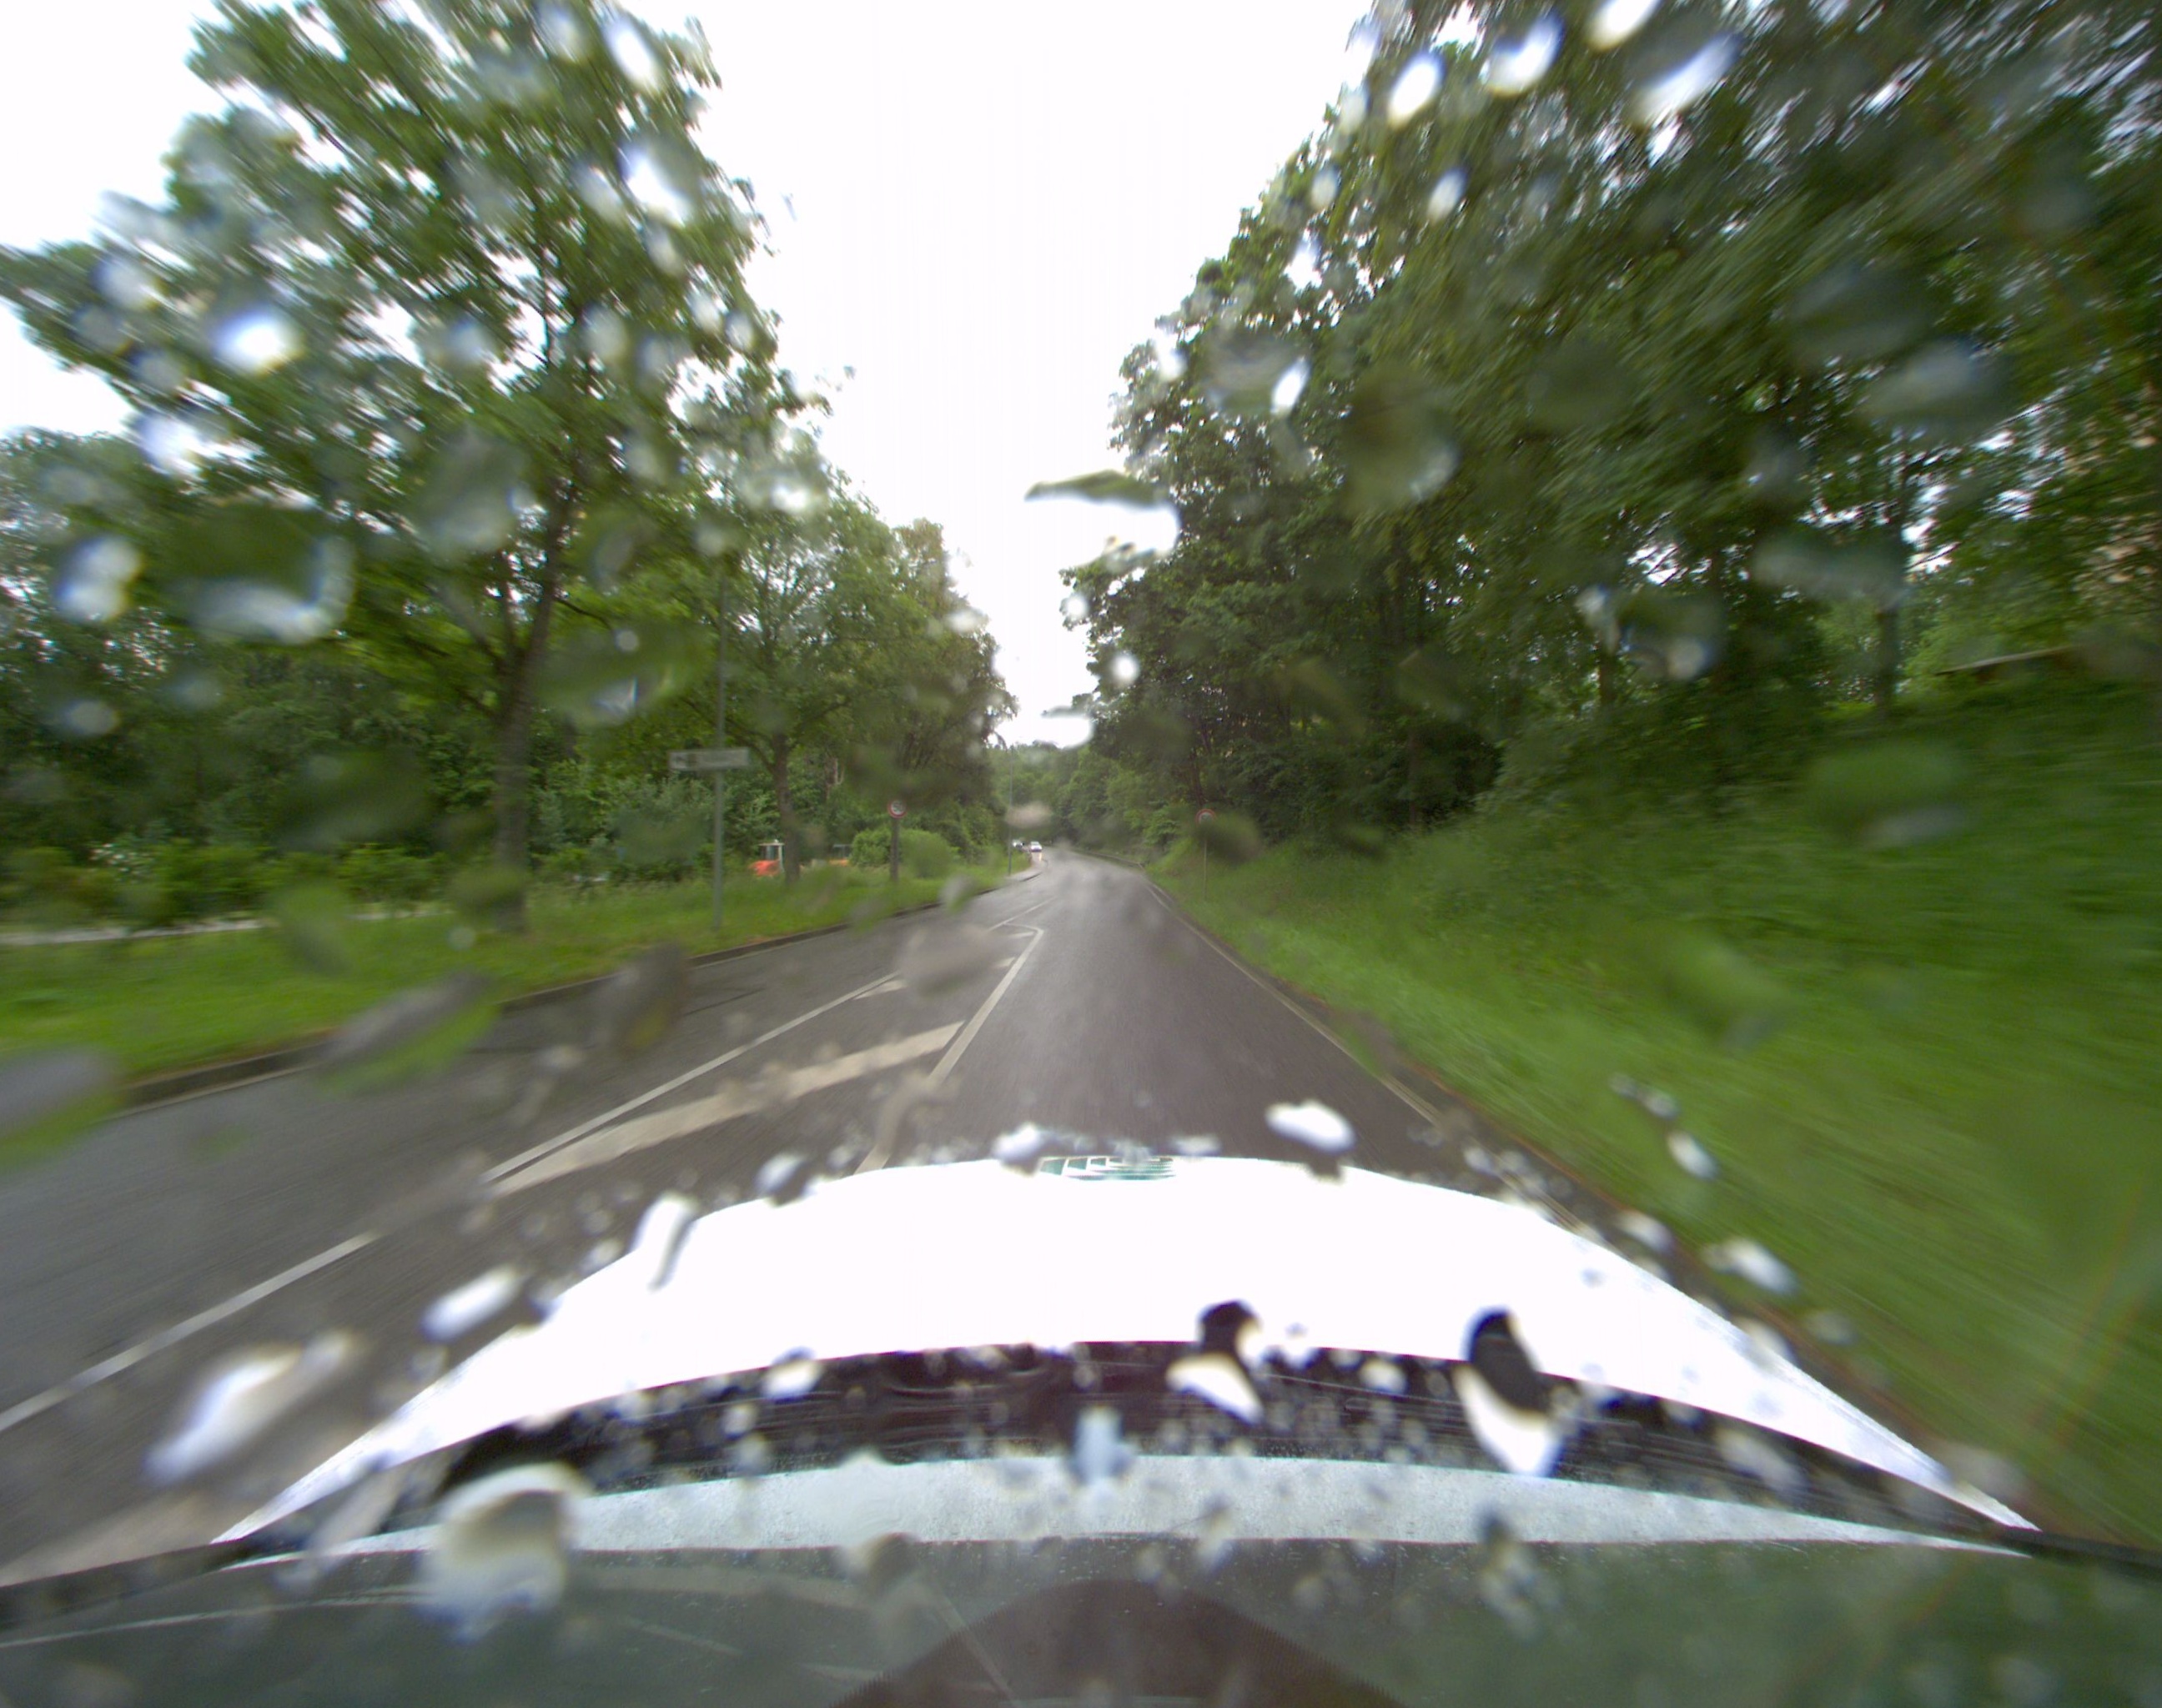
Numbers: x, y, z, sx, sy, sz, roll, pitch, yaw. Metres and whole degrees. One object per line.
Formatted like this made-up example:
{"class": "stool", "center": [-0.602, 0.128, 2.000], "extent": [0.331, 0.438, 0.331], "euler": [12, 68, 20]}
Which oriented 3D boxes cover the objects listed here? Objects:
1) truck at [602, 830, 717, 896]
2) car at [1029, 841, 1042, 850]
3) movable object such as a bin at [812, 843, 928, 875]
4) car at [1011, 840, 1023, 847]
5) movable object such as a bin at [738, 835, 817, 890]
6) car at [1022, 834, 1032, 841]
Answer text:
{"class": "truck", "center": [-17.021, 0.296, 33.240], "extent": [1.988, 2.457, 5.221], "euler": [1, 1, -1]}
{"class": "car", "center": [-7.896, -1.462, 141.501], "extent": [1.814, 1.648, 4.118], "euler": [-1, 0, -9]}
{"class": "movable object such as a bin", "center": [-13.121, 0.254, 51.410], "extent": [1.828, 1.907, 7.958], "euler": [0, 0, 32]}
{"class": "car", "center": [-12.657, -2.042, 159.985], "extent": [1.816, 1.434, 3.983], "euler": [-1, 0, -12]}
{"class": "movable object such as a bin", "center": [-16.514, 0.454, 44.500], "extent": [1.978, 2.861, 4.017], "euler": [0, 0, 16]}
{"class": "car", "center": [-11.308, -3.440, 170.453], "extent": [1.731, 1.510, 3.999], "euler": [-2, 1, -1]}
